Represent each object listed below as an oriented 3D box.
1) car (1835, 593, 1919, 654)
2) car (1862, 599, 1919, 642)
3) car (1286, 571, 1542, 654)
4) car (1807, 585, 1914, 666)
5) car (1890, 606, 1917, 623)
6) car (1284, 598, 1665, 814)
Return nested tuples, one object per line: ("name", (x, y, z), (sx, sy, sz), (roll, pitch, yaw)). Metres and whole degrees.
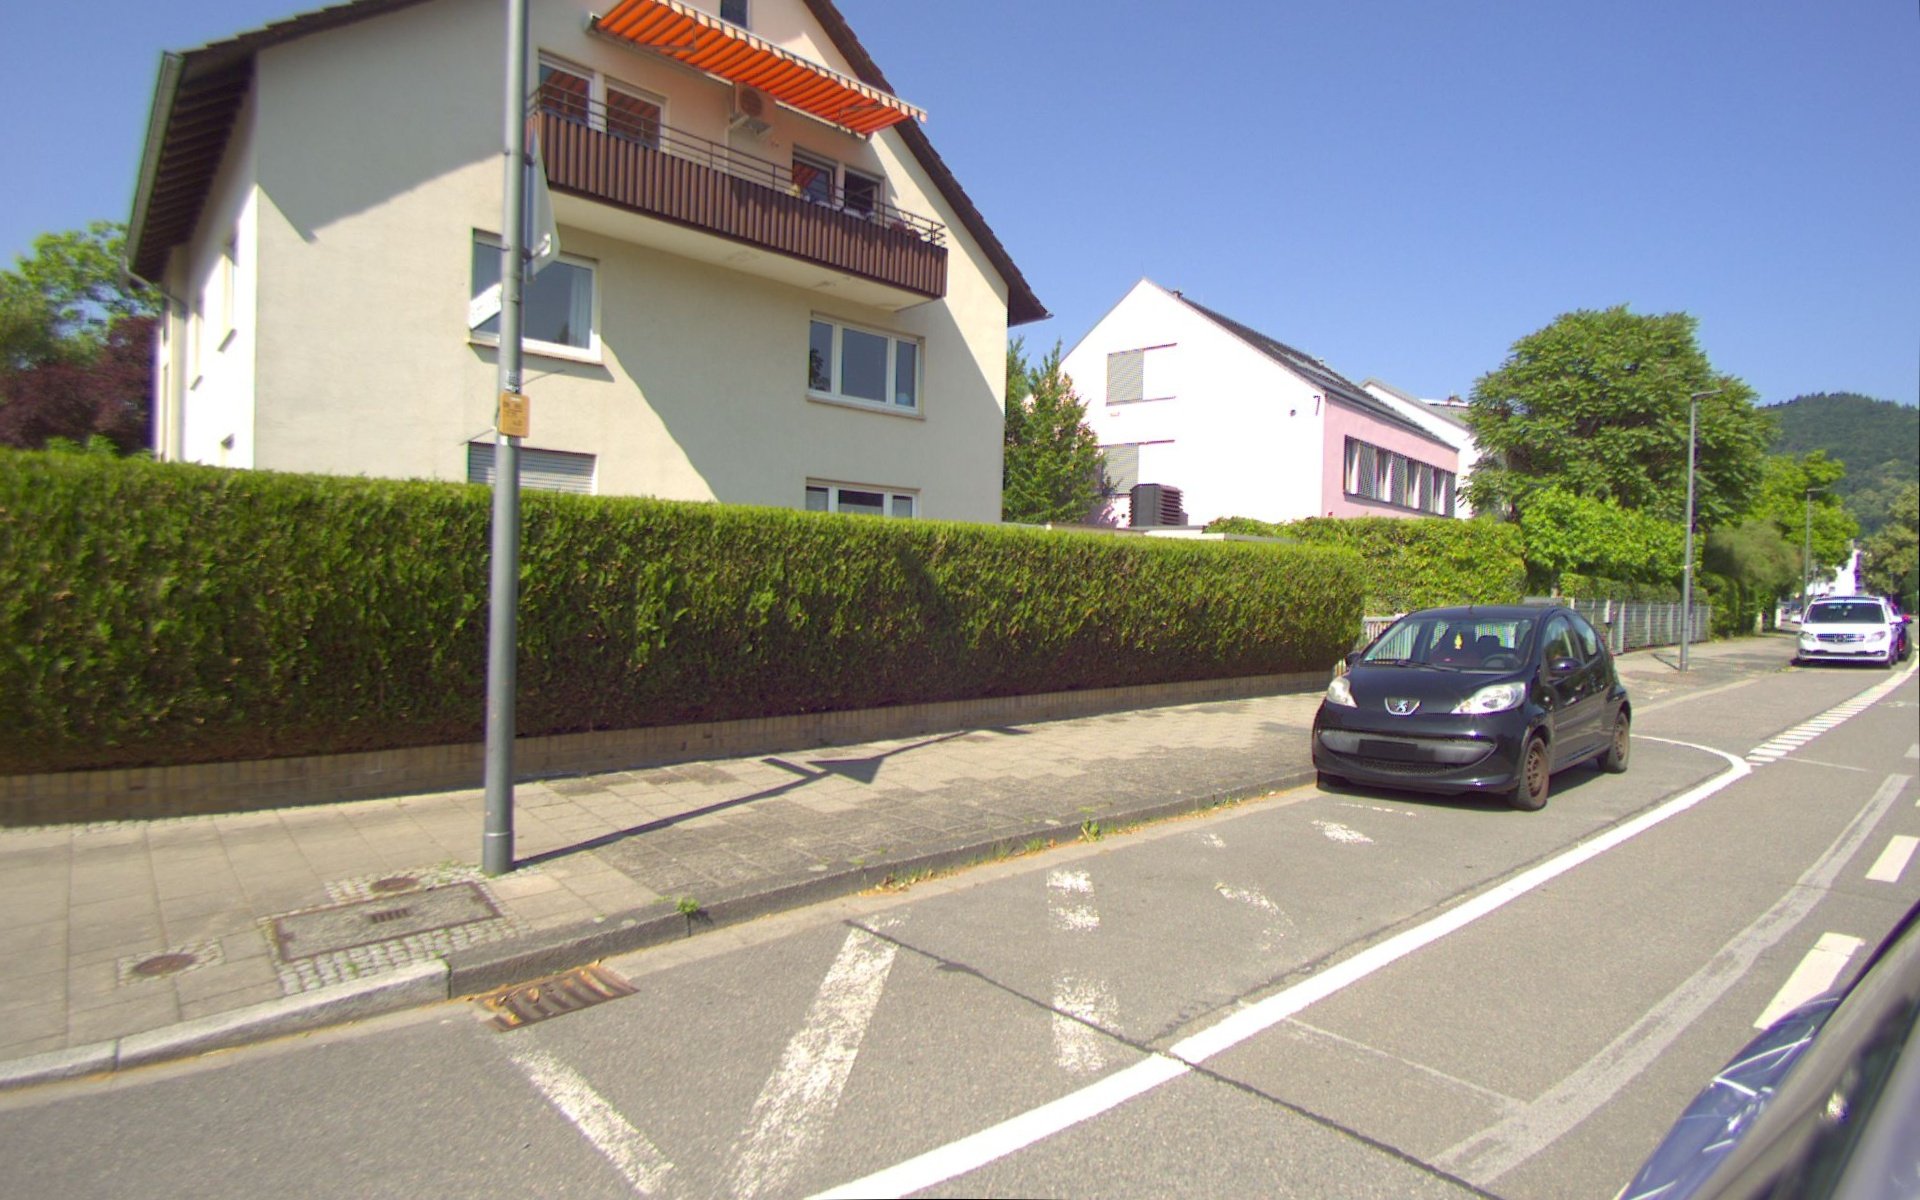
("car", (26.559, 0.669, 29.133), (1.763, 1.613, 4.243), (2, 0, 45))
("car", (36.354, 0.824, 39.282), (1.812, 1.579, 4.711), (-2, -2, 44))
("car", (10.464, 0.223, 23.621), (1.946, 1.727, 5.090), (1, 0, -45))
("car", (22.763, 0.586, 25.536), (1.762, 1.850, 4.524), (-1, -1, 45))
("car", (114.335, 1.774, 122.674), (1.997, 1.836, 4.698), (3, 1, 38))
("car", (4.485, 0.721, 8.554), (3.932, 1.408, 1.618), (1, -2, -43))
